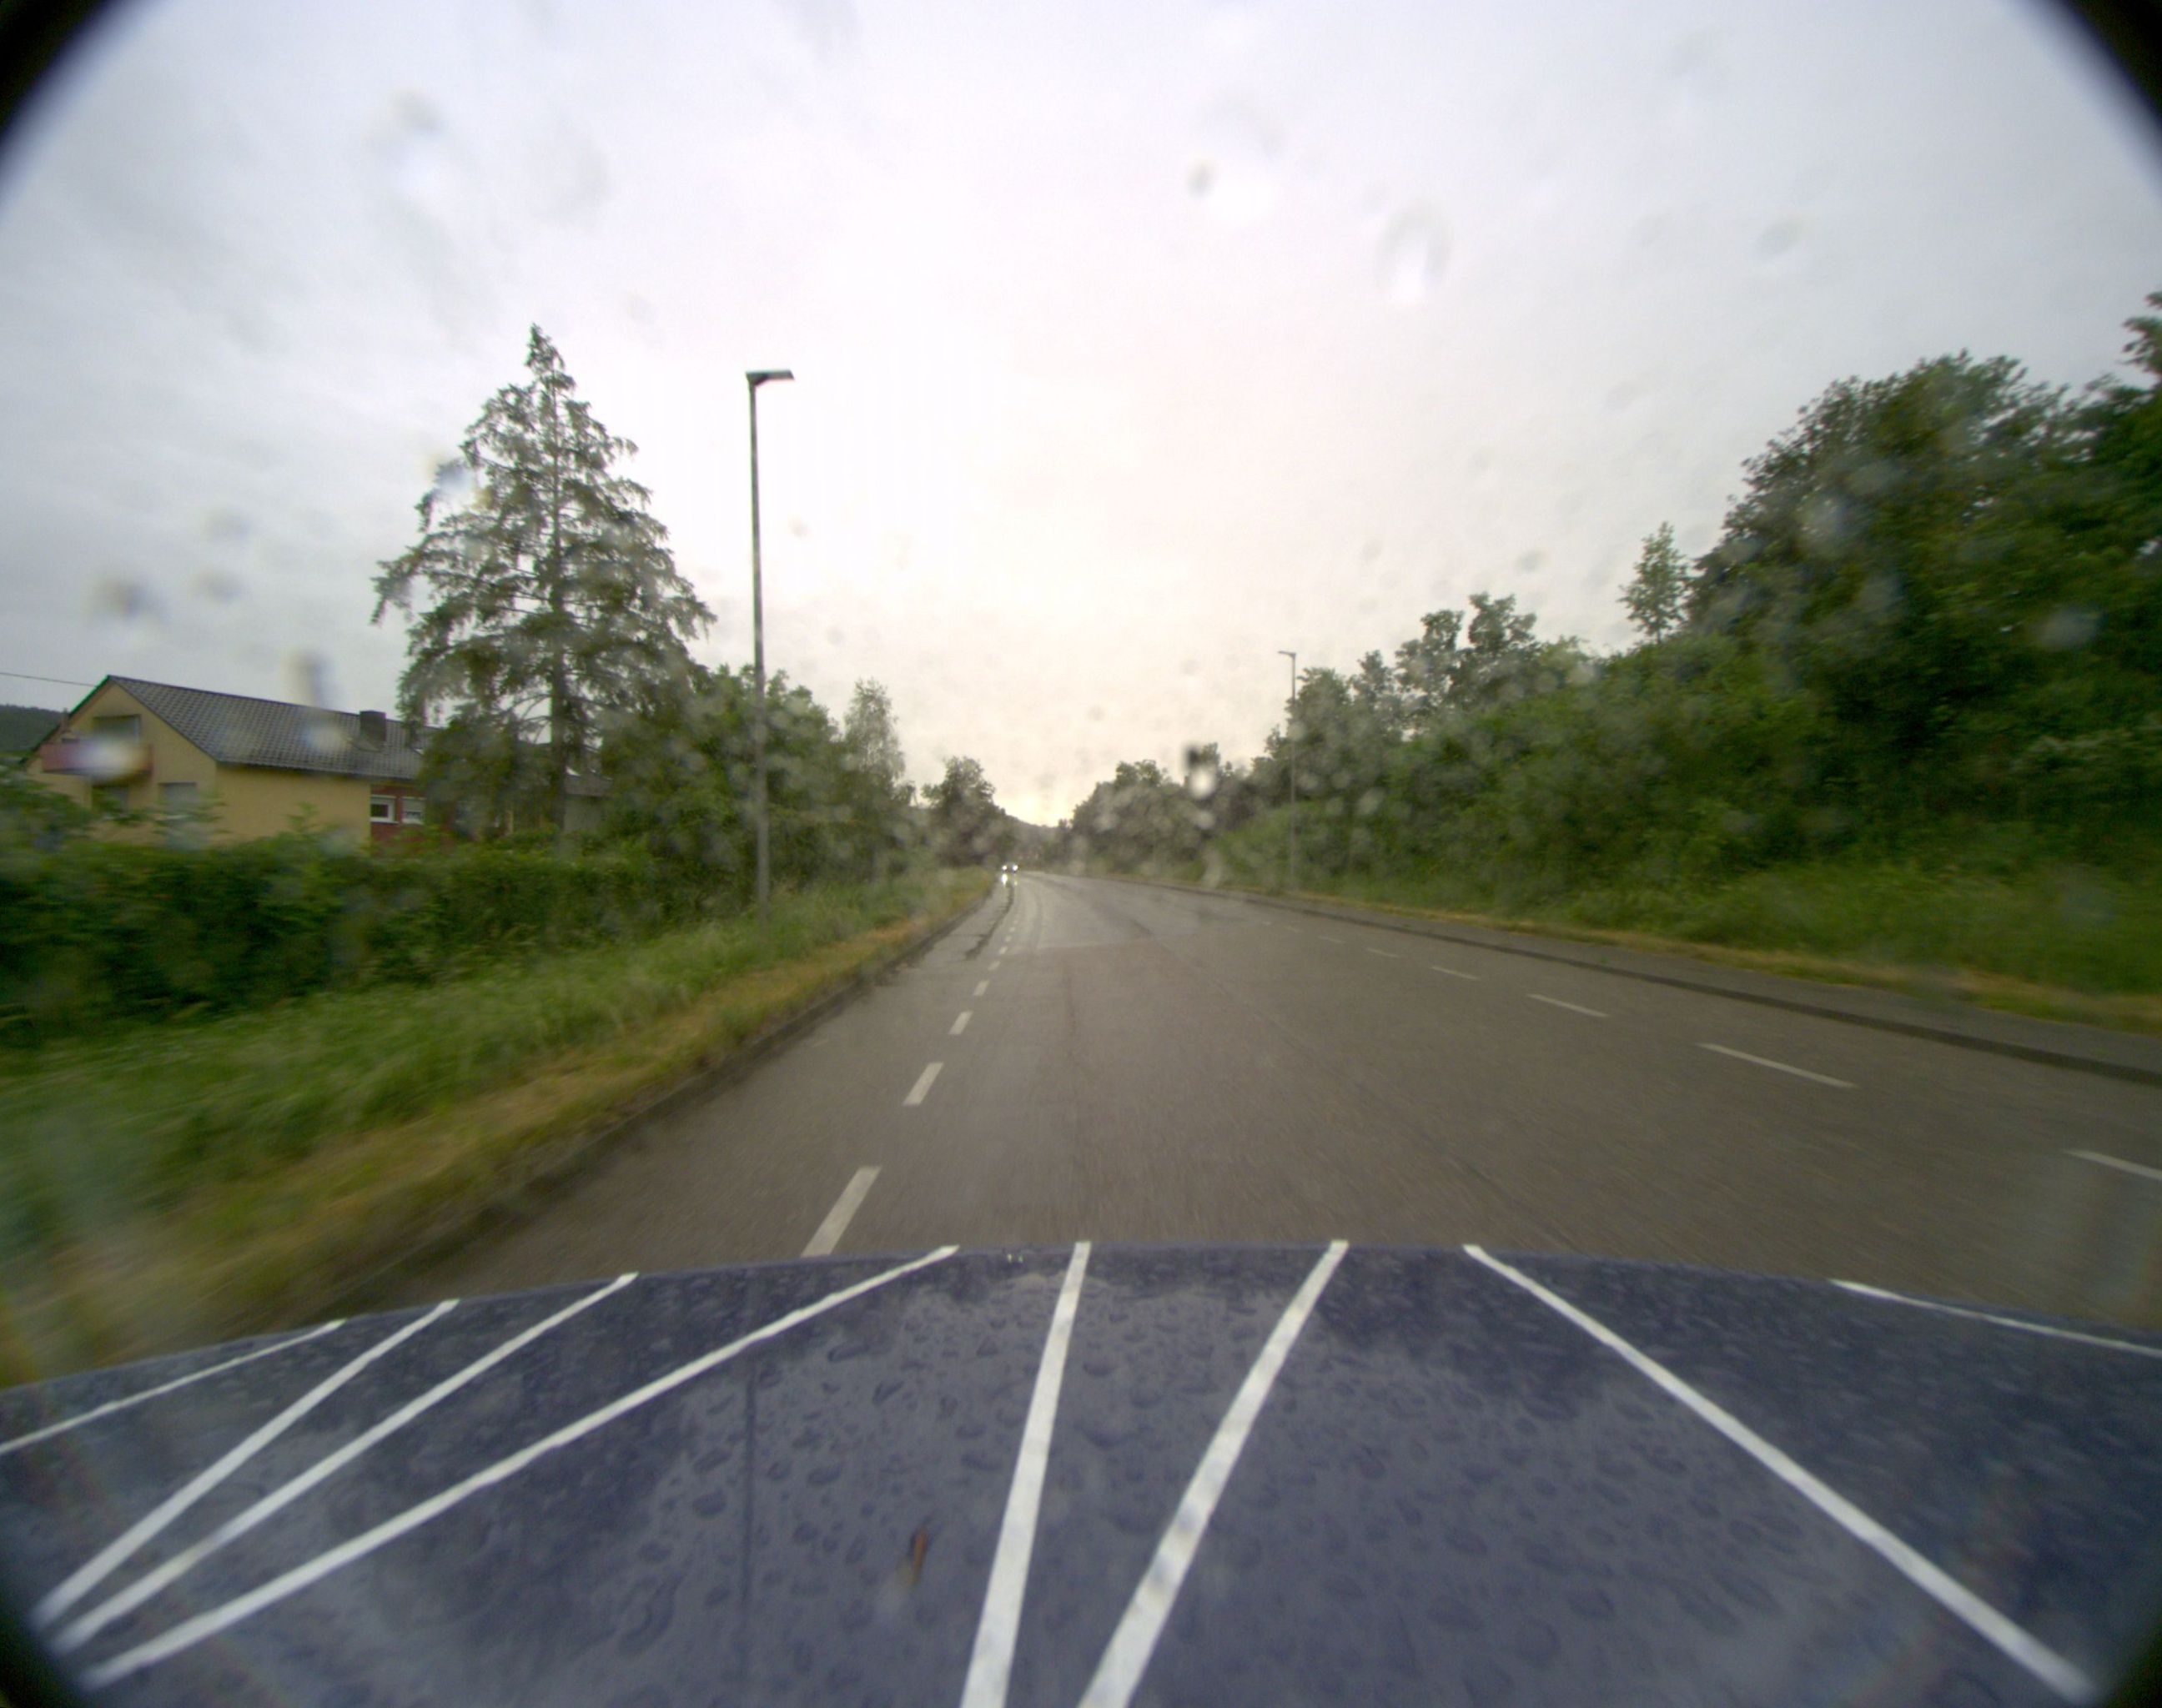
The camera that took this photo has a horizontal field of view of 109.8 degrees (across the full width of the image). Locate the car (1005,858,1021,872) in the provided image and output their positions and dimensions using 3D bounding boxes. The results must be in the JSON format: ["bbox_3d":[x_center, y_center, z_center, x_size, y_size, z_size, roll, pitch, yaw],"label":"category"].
[{"bbox_3d":[-9.114,1.430,101.819,1.999,1.831,3.998,0,0,-6],"label":"car"}]
